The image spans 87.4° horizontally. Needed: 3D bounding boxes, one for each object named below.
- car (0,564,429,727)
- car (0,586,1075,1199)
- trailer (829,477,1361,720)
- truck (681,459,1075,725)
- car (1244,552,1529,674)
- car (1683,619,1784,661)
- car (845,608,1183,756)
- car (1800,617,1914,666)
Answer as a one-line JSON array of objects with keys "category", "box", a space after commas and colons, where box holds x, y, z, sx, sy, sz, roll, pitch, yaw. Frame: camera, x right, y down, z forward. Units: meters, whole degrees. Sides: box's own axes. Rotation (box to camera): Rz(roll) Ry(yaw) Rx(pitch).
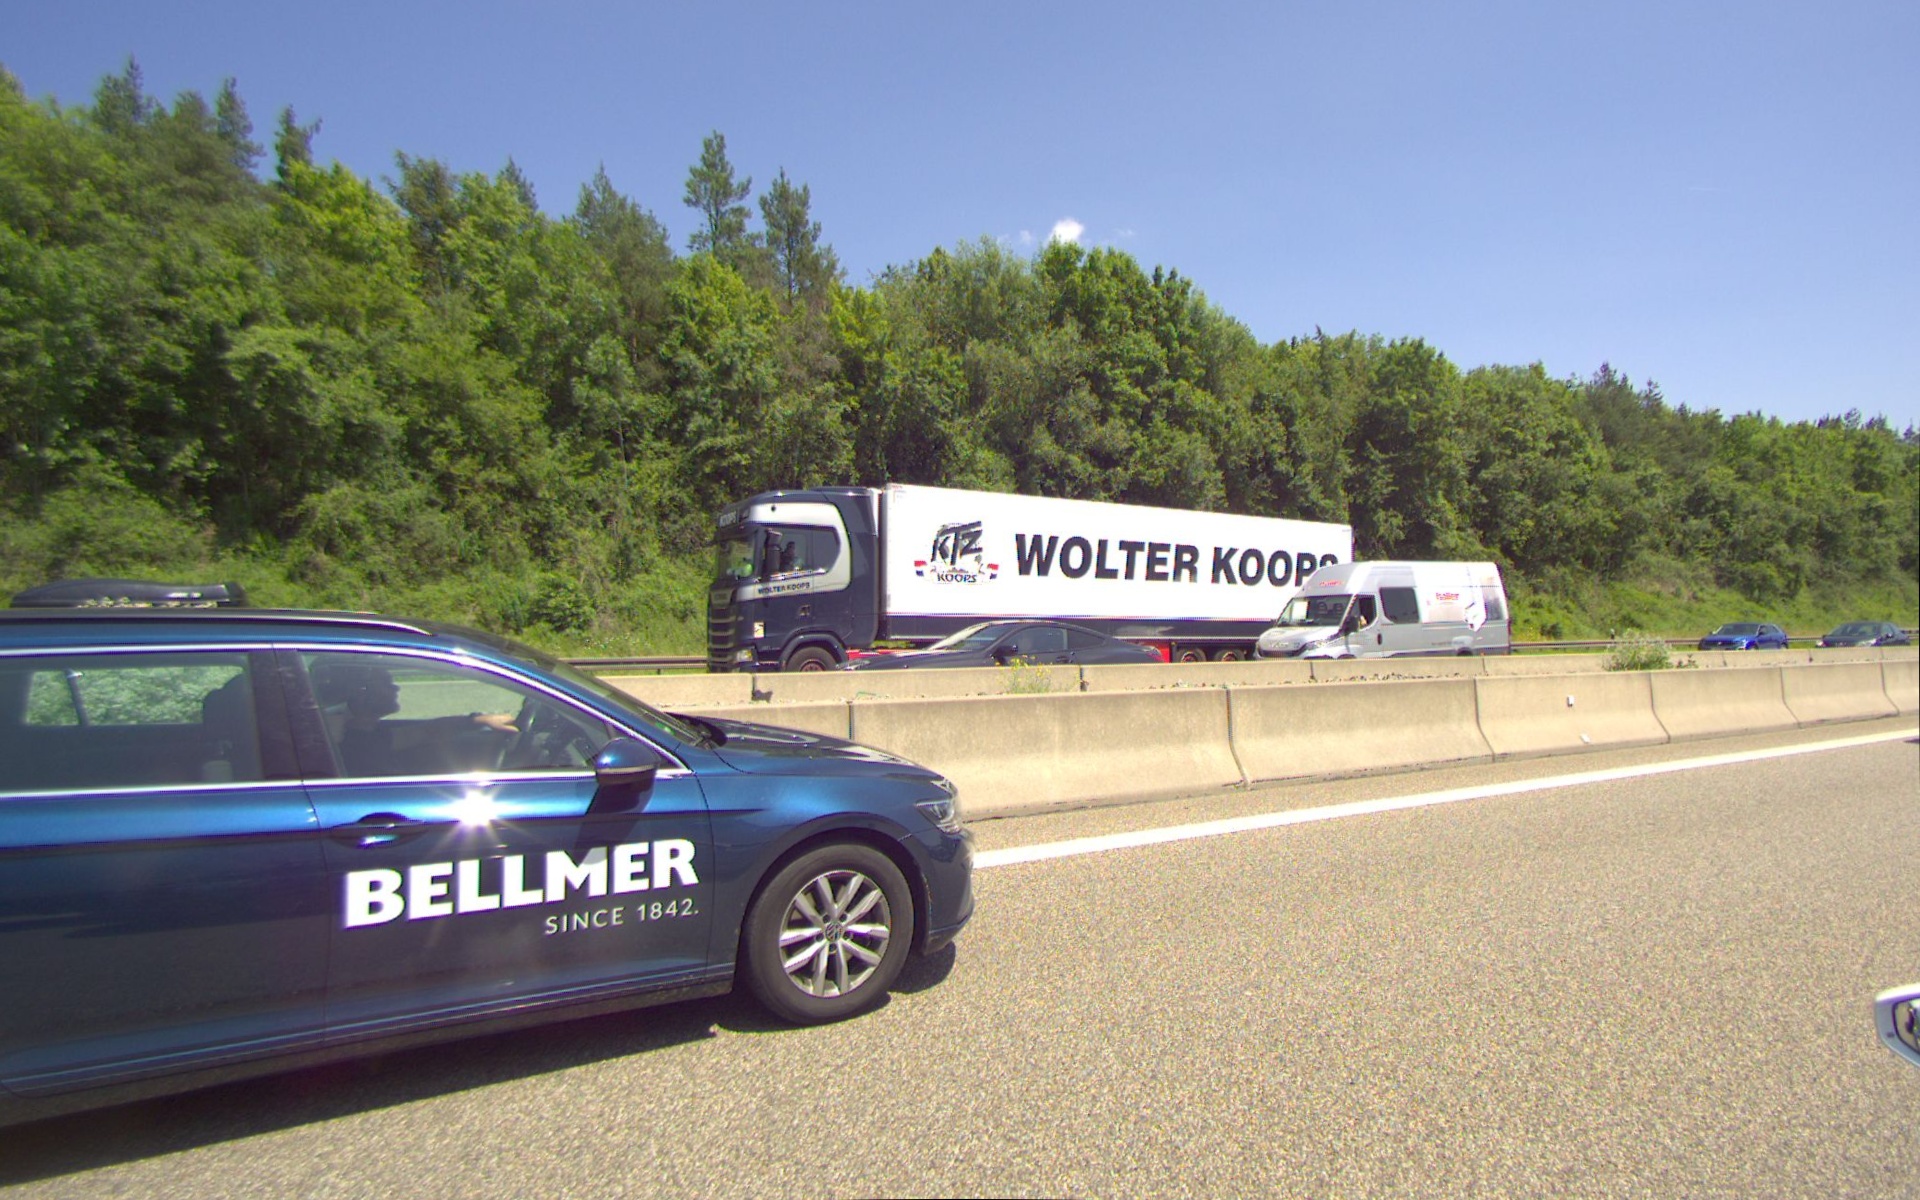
[{"category": "car", "box": [-8.684, 0.542, 11.563, 4.462, 1.628, 1.679, 2, -4, -30]}, {"category": "car", "box": [-1.987, 0.746, 3.540, 4.674, 1.446, 1.725, 1, -3, -30]}, {"category": "trailer", "box": [3.690, 0.269, 23.972, 13.179, 4.586, 3.707, 2, -4, -31]}, {"category": "truck", "box": [-1.625, 0.060, 20.733, 7.243, 4.586, 3.707, 2, -4, -31]}, {"category": "car", "box": [9.723, 0.323, 22.575, 7.278, 2.408, 1.984, 1, -1, -31]}, {"category": "car", "box": [30.973, 1.568, 40.201, 3.953, 1.614, 1.871, 1, -1, -30]}, {"category": "car", "box": [0.742, 1.010, 12.833, 4.078, 1.628, 1.679, 2, -4, -30]}, {"category": "car", "box": [31.357, 1.429, 35.092, 3.953, 1.614, 1.871, 1, -1, -30]}]
